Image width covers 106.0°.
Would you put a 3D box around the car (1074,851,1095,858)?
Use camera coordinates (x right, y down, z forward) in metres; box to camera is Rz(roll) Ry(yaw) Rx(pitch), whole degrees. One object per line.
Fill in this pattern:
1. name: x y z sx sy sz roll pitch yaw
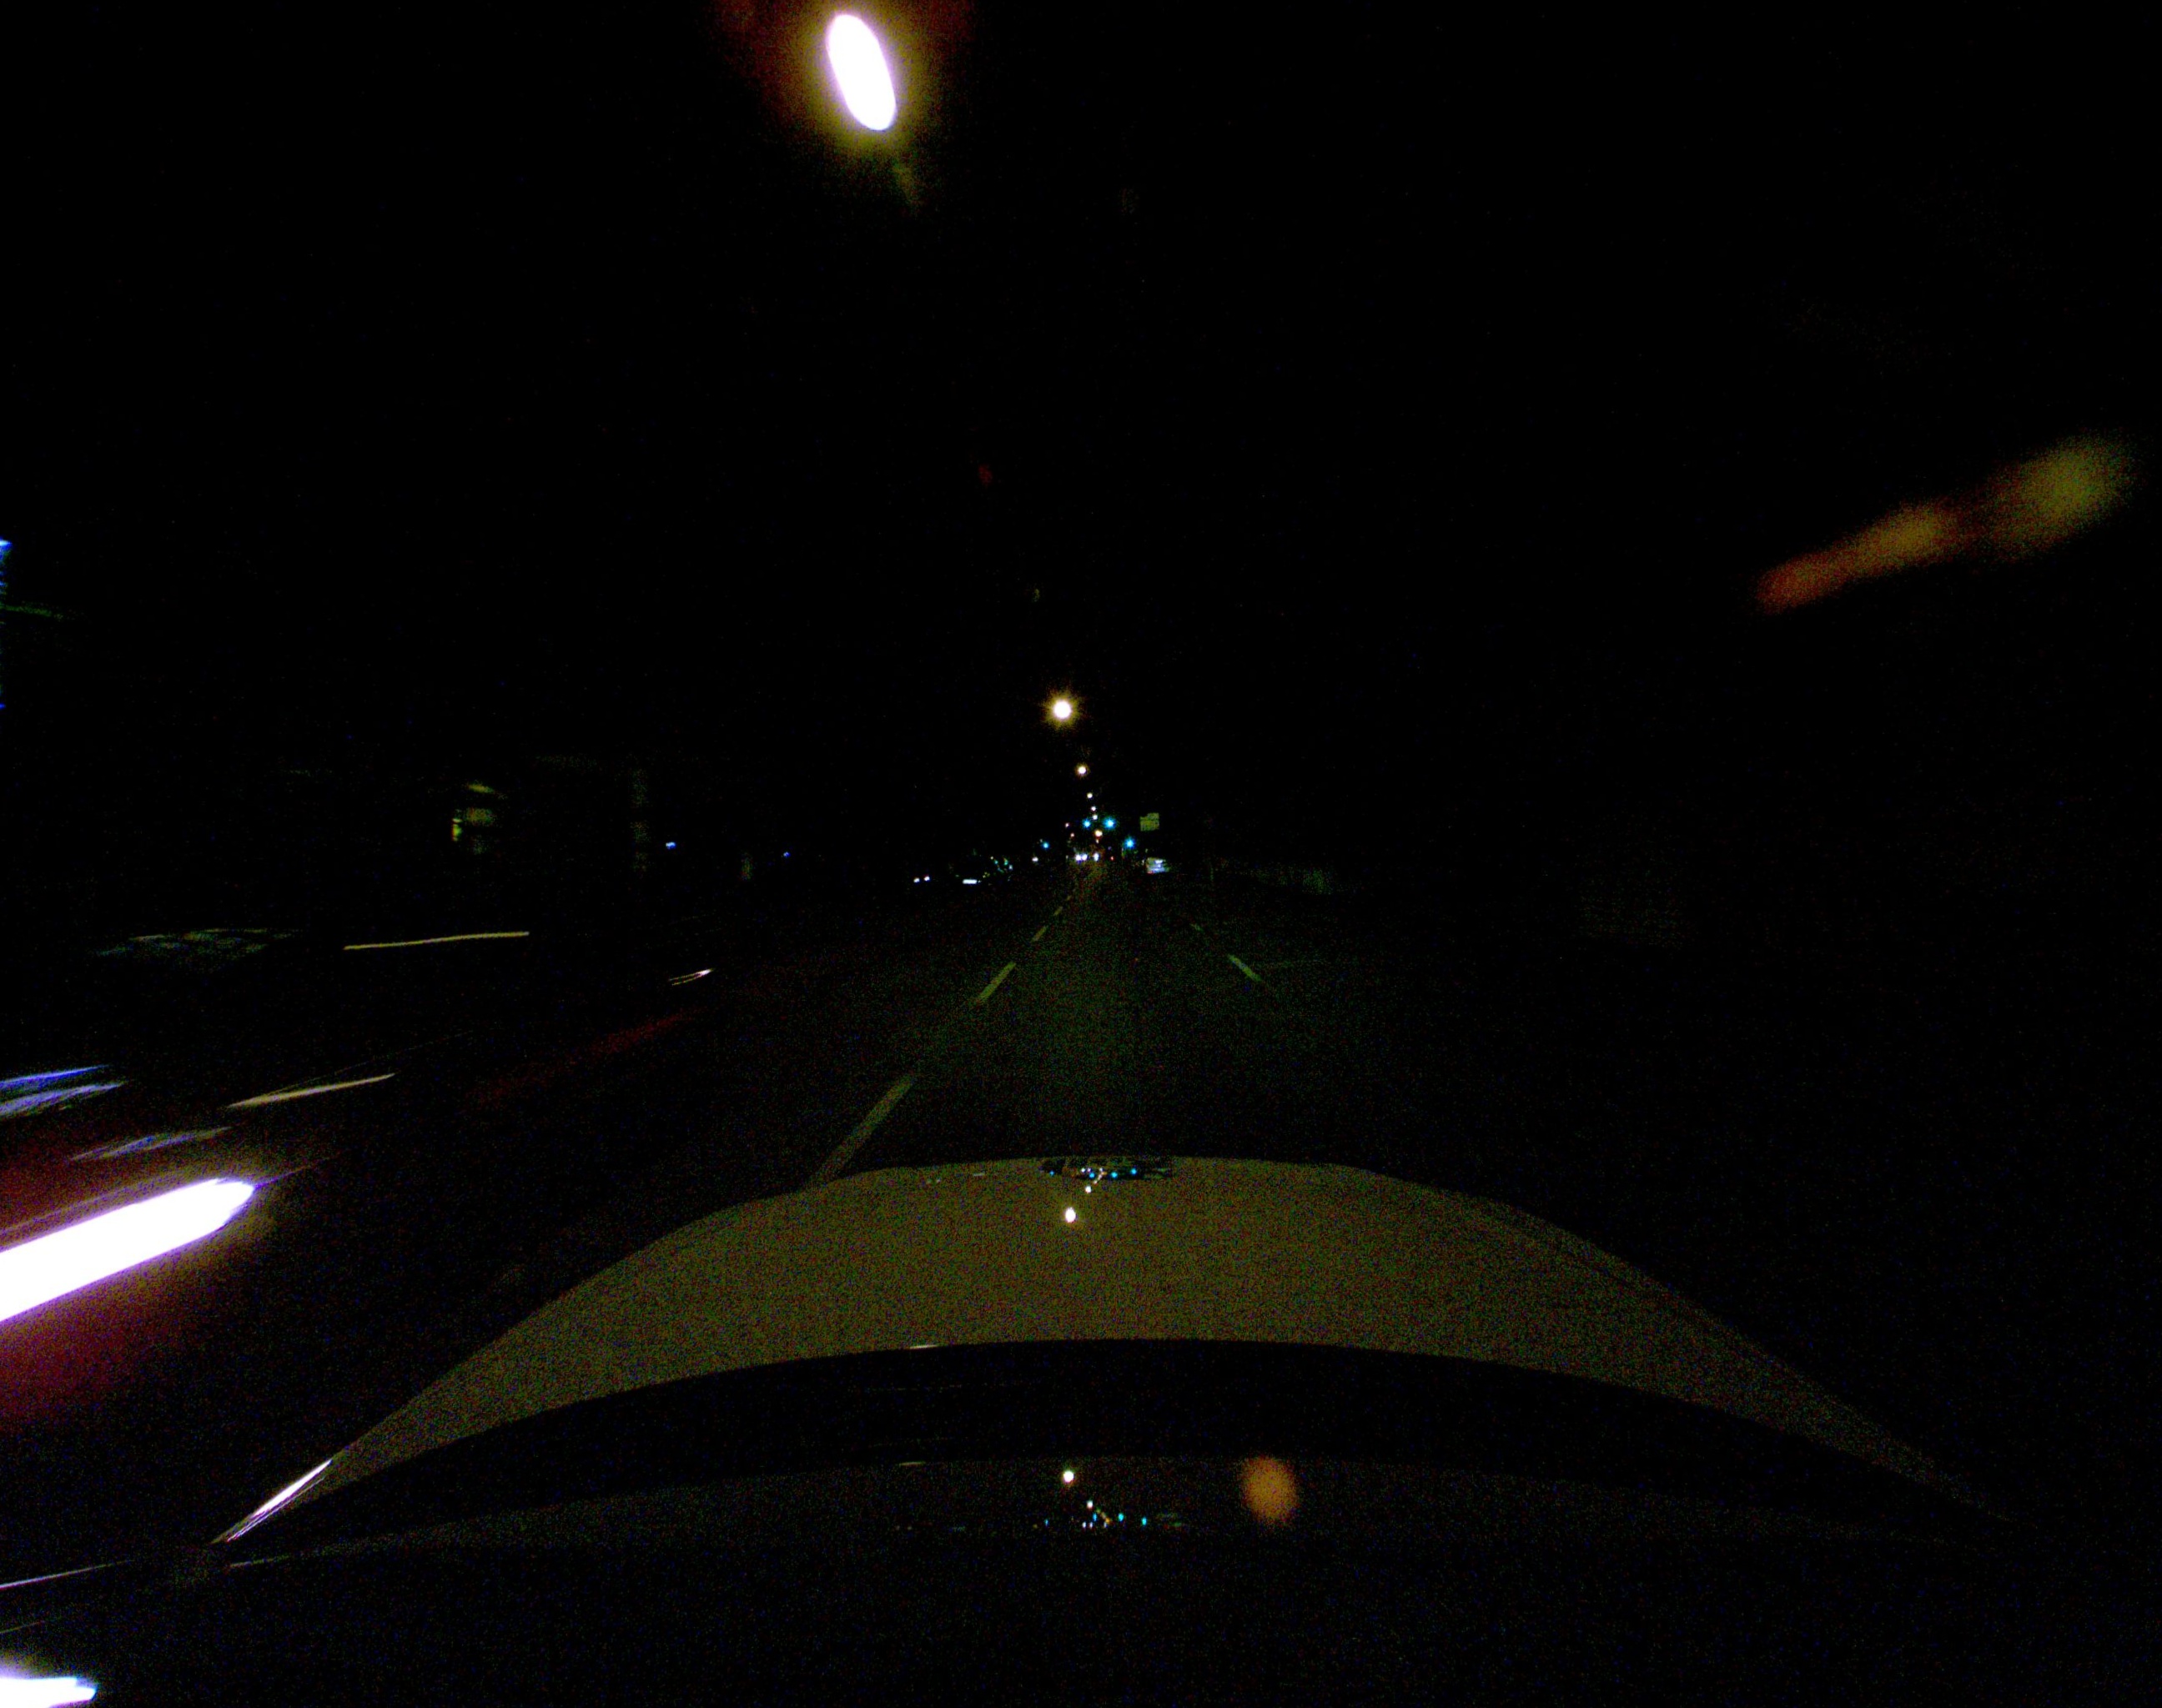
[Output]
1. car: 0.717 0.101 156.848 1.699 1.457 3.945 -2 -2 44

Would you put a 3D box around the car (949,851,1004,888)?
1. car: -4.328 0.615 34.303 1.715 1.437 4.191 0 0 1

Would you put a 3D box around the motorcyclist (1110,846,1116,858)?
1. motorcyclist: 4.868 -0.307 122.538 0.845 1.752 0.806 -1 -1 1

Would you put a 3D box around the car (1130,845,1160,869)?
1. car: 4.469 0.215 57.686 1.862 1.526 4.151 -3 0 2

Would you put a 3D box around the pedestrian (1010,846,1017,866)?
1. pedestrian: -5.961 0.166 71.646 0.569 1.700 0.927 0 -1 -8

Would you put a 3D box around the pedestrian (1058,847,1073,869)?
1. pedestrian: -1.209 0.307 64.455 0.757 1.699 0.933 1 0 36

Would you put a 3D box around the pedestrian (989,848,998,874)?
1. pedestrian: -5.880 0.459 54.619 0.580 1.700 0.530 0 -1 -7

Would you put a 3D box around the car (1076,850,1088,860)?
1. car: 0.154 0.171 135.648 1.937 1.717 4.001 -1 -1 2

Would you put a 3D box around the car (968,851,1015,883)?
1. car: -4.293 0.594 39.651 1.715 1.437 4.810 -1 0 0

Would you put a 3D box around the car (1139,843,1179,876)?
1. car: 4.196 0.272 44.373 1.805 1.594 4.275 -3 0 2

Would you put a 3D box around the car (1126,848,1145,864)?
1. car: 5.141 0.181 77.165 1.624 1.496 3.414 -1 0 0

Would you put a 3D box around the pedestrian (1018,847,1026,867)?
1. pedestrian: -5.203 0.245 71.782 0.717 1.765 0.602 0 -1 -7

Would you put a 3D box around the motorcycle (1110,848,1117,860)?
1. motorcycle: 4.874 -0.062 122.549 0.927 1.752 2.626 -1 -1 2

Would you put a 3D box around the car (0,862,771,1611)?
1. car: -2.937 0.796 3.504 1.640 1.422 3.871 -2 0 1

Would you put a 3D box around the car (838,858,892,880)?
1. car: -14.476 1.003 54.587 3.224 1.453 1.806 -1 -1 34
